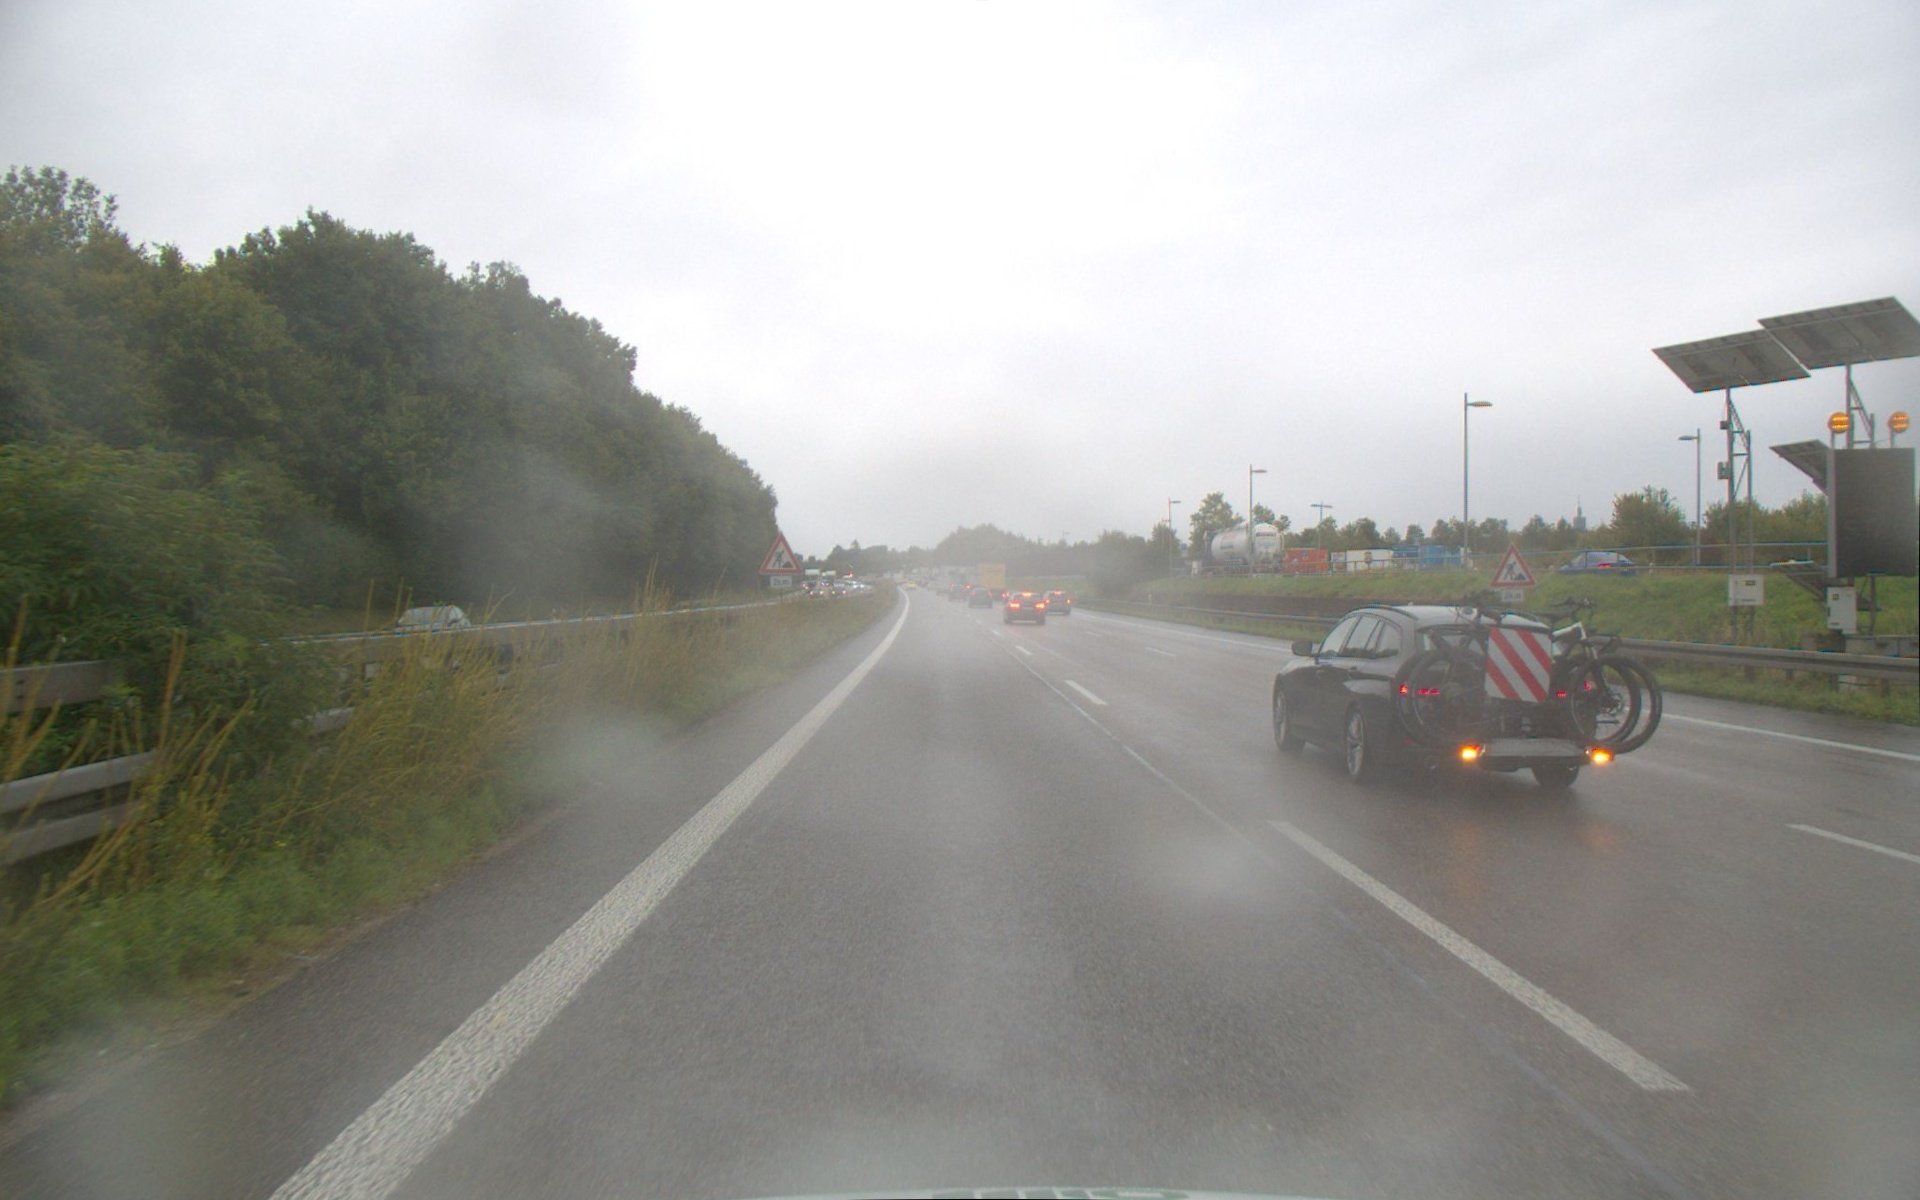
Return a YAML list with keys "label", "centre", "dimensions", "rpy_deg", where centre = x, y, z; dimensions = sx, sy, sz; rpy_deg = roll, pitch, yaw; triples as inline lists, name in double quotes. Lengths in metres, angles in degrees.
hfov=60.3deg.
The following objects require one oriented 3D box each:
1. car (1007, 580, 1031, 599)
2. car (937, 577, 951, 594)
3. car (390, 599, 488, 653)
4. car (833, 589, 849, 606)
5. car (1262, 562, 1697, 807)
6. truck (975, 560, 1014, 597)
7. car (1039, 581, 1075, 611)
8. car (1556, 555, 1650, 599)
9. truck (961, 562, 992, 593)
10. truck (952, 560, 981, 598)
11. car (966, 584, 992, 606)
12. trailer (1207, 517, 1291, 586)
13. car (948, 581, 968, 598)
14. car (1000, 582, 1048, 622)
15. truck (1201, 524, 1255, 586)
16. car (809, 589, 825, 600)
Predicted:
- label: "car"
  centre: [5.397, -0.956, 152.292]
  dimensions: [1.953, 1.657, 3.999]
  rpy_deg: [-1, 0, -1]
- label: "car"
  centre: [-2.195, -1.950, 226.053]
  dimensions: [1.953, 2.243, 3.999]
  rpy_deg: [-1, 0, -1]
- label: "car"
  centre: [-15.095, 0.721, 48.123]
  dimensions: [1.644, 1.422, 3.999]
  rpy_deg: [-1, 1, -1]
- label: "car"
  centre: [-13.570, -0.336, 188.508]
  dimensions: [1.571, 1.917, 3.571]
  rpy_deg: [-1, 0, -1]
- label: "car"
  centre: [4.177, 0.627, 14.445]
  dimensions: [2.016, 1.700, 5.521]
  rpy_deg: [1, -1, -1]
- label: "truck"
  centre: [3.803, -2.409, 186.856]
  dimensions: [3.844, 4.051, 12.237]
  rpy_deg: [-1, 0, -1]
- label: "car"
  centre: [6.062, -0.272, 104.105]
  dimensions: [1.953, 1.791, 3.999]
  rpy_deg: [-1, 0, -1]
- label: "car"
  centre: [24.883, -0.874, 64.125]
  dimensions: [1.753, 1.653, 3.995]
  rpy_deg: [-1, 0, -6]
- label: "truck"
  centre: [2.203, -3.018, 225.241]
  dimensions: [3.844, 4.051, 12.237]
  rpy_deg: [-1, 0, -1]
- label: "truck"
  centre: [0.967, -3.181, 257.204]
  dimensions: [4.200, 5.665, 12.237]
  rpy_deg: [-1, 0, -1]
- label: "car"
  centre: [1.488, -0.424, 130.077]
  dimensions: [1.953, 1.657, 3.999]
  rpy_deg: [-1, 0, -1]
- label: "trailer"
  centre: [18.968, -3.075, 109.470]
  dimensions: [2.924, 4.229, 12.953]
  rpy_deg: [-1, 0, -1]
- label: "car"
  centre: [-0.182, -1.074, 169.134]
  dimensions: [1.953, 1.657, 3.999]
  rpy_deg: [-1, 0, -1]
- label: "car"
  centre: [2.942, 0.066, 76.519]
  dimensions: [1.953, 1.791, 3.999]
  rpy_deg: [-1, 0, -1]
- label: "truck"
  centre: [18.837, -3.104, 116.475]
  dimensions: [2.889, 4.218, 4.921]
  rpy_deg: [-1, 0, -1]
- label: "car"
  centre: [-18.313, -0.682, 211.910]
  dimensions: [1.644, 1.422, 3.999]
  rpy_deg: [-1, 1, -1]
